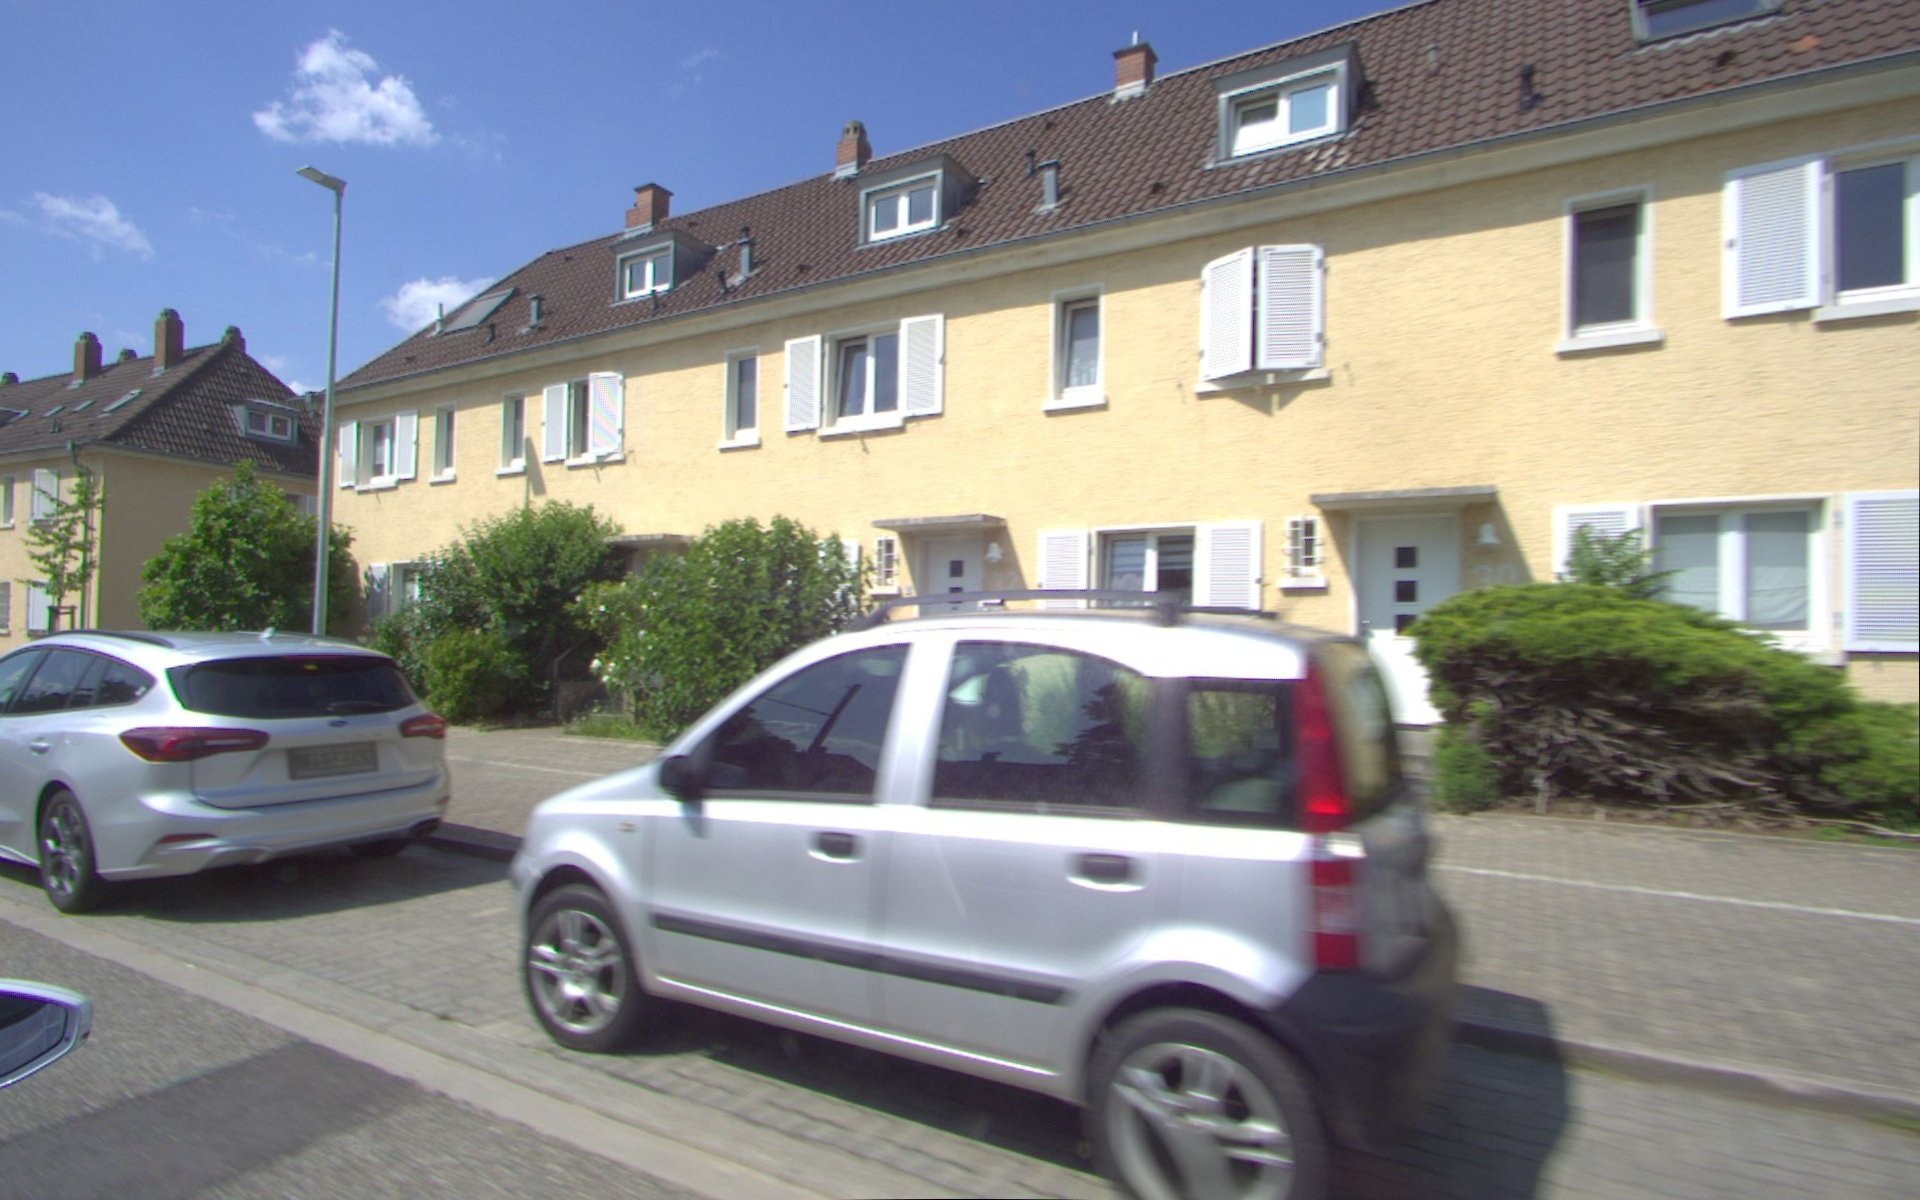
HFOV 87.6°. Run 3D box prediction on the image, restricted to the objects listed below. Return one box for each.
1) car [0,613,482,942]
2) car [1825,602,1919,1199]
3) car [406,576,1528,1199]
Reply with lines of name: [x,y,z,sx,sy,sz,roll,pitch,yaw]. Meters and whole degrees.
car: [-5.237,0.867,6.487,4.320,1.517,1.748,-1,-2,30]
car: [3.948,0.761,1.160,4.191,1.523,1.706,0,-2,31]
car: [-0.127,0.774,3.614,3.753,1.570,1.626,0,-2,31]
